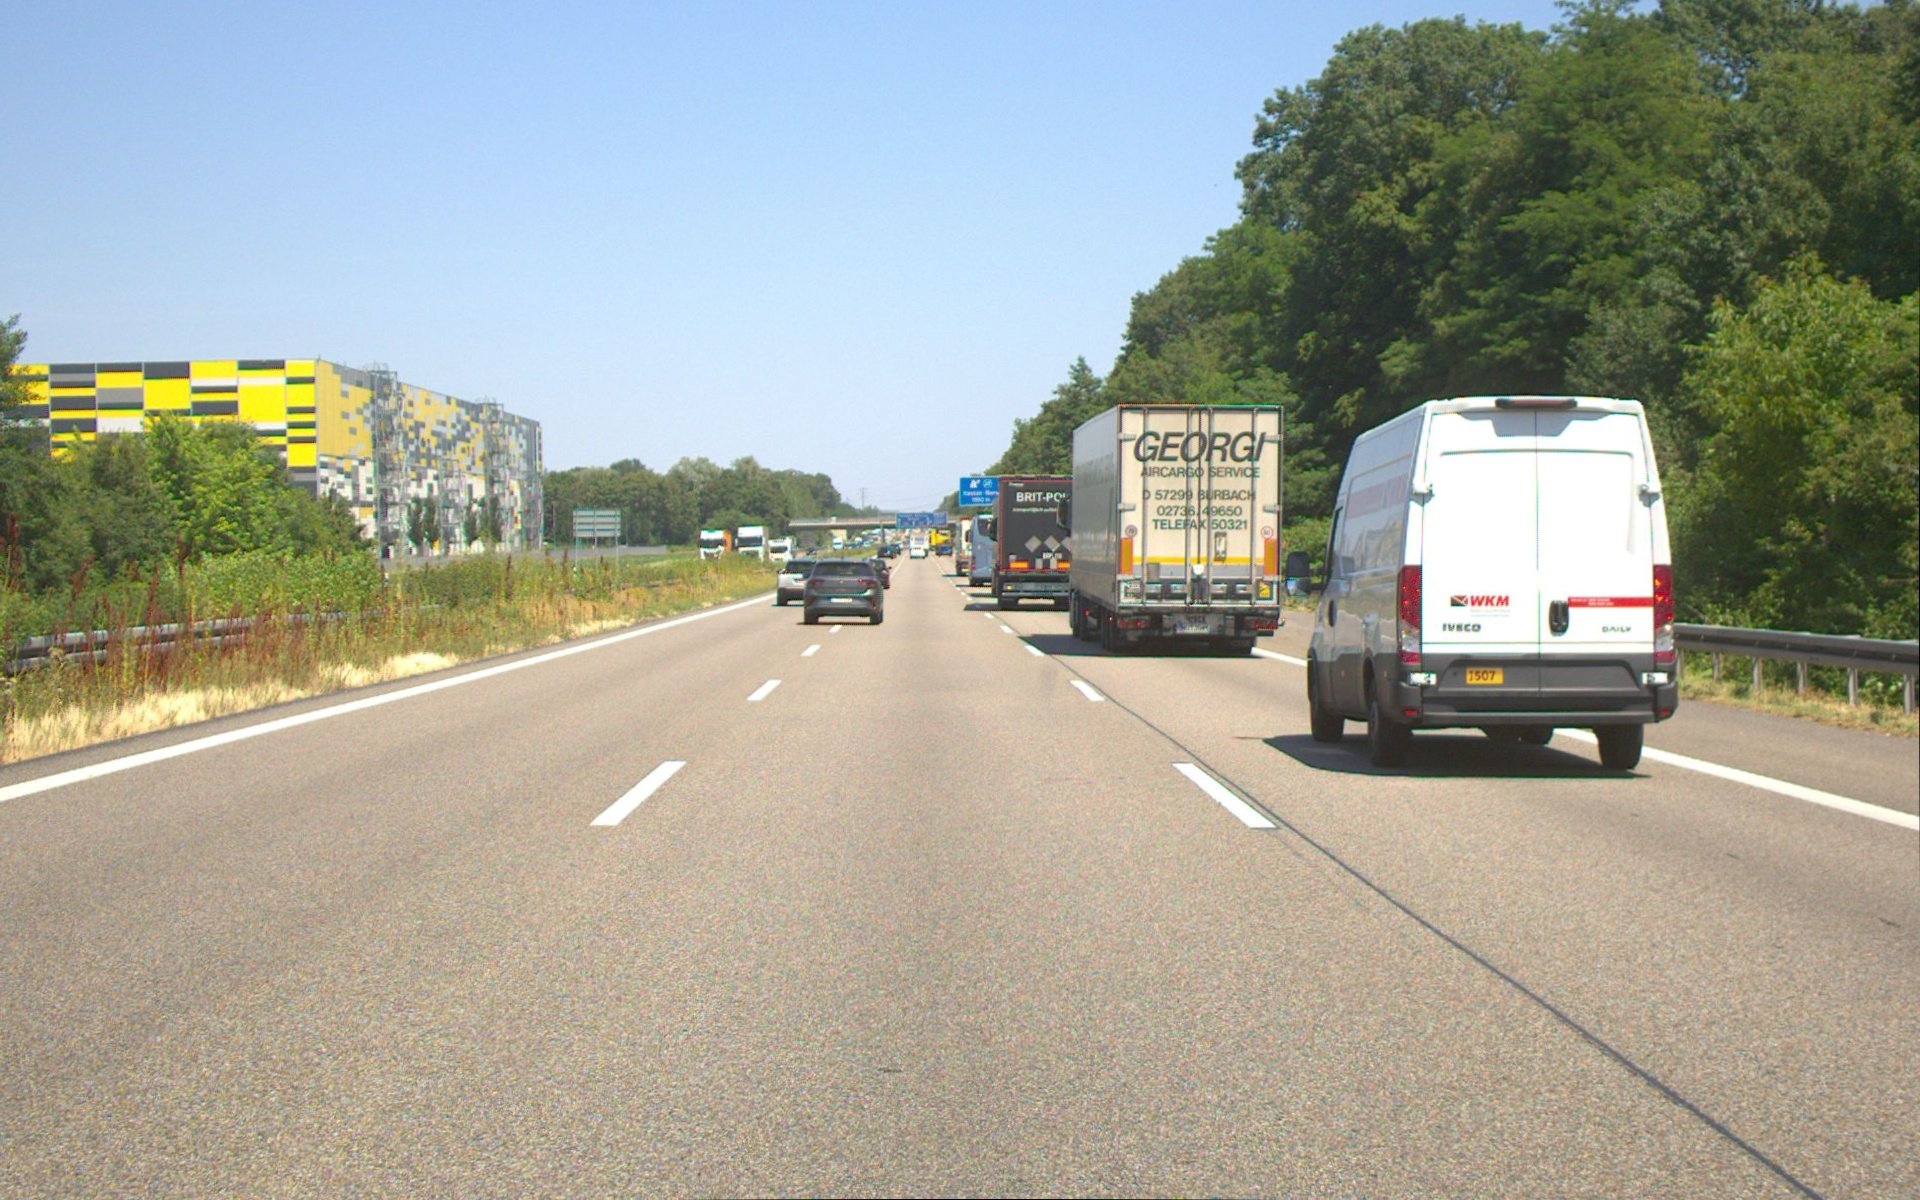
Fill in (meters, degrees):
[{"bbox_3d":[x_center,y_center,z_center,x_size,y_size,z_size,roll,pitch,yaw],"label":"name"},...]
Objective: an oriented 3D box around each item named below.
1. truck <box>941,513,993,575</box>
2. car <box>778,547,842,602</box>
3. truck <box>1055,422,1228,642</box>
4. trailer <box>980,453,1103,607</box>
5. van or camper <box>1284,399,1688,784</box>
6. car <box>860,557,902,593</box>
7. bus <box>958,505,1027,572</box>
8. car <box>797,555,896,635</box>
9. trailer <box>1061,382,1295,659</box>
[{"bbox_3d":[0.477,-3.832,235.204,3.422,4.112,9.565,-1,1,0],"label":"truck"},{"bbox_3d":[-4.861,-0.847,111.819,1.993,1.722,4.131,0,1,-2],"label":"car"},{"bbox_3d":[3.474,-1.305,67.042,3.002,4.110,5.253,0,0,-1],"label":"truck"},{"bbox_3d":[2.417,-2.134,107.762,3.106,4.491,14.897,0,1,-1],"label":"trailer"},{"bbox_3d":[3.920,-0.105,26.878,2.022,2.628,6.487,1,1,-1],"label":"van or camper"},{"bbox_3d":[-3.738,-1.198,162.597,1.941,1.700,4.000,0,1,-1],"label":"car"},{"bbox_3d":[1.616,-3.148,175.934,3.062,3.315,8.275,-1,1,-2],"label":"bus"},{"bbox_3d":[-2.642,-0.155,81.324,2.216,1.784,5.394,-1,1,-1],"label":"car"},{"bbox_3d":[3.592,-1.335,60.226,2.993,4.274,13.419,1,1,-1],"label":"trailer"}]
